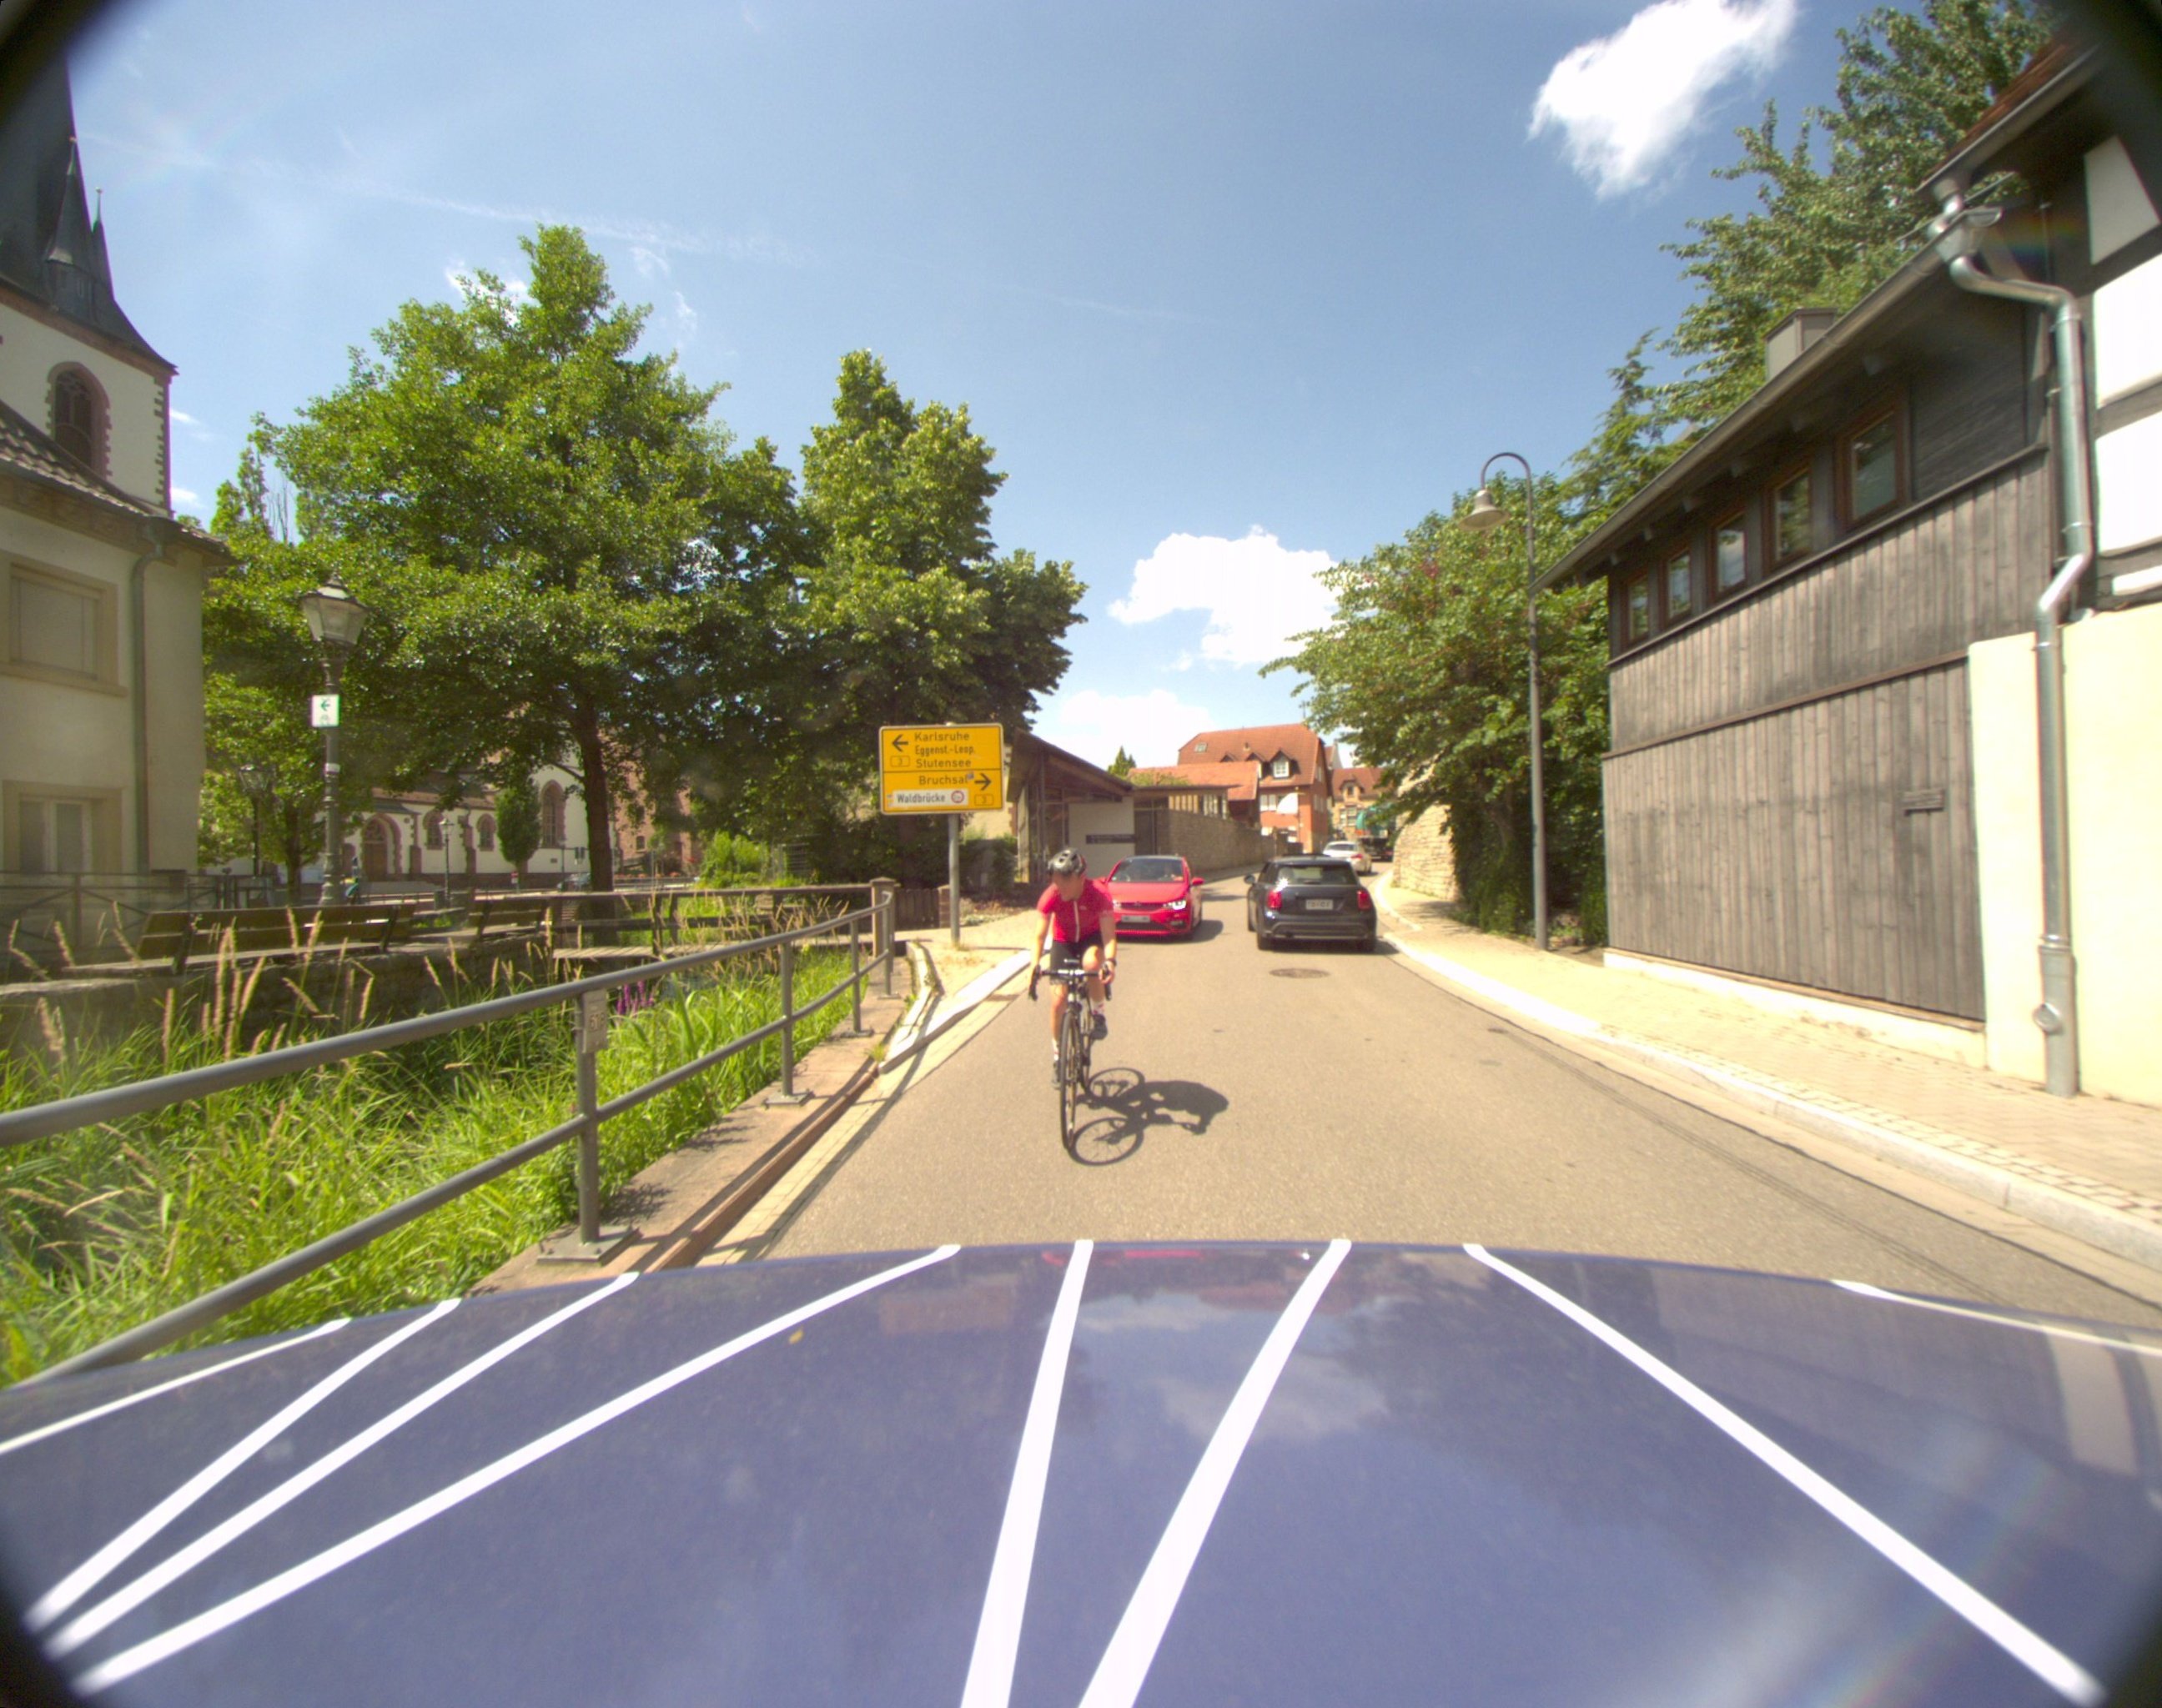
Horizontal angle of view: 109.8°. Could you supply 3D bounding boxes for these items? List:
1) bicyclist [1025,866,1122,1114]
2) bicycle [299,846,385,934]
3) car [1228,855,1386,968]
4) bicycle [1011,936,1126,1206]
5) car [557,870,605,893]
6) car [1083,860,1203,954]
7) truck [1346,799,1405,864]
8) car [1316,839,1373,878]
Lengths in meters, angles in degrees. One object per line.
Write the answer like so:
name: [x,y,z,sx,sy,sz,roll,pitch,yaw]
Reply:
bicyclist: [-0.041,0.776,4.682,0.532,1.396,0.755,-1,0,0]
bicycle: [-18.444,0.871,19.046,0.784,2.002,2.660,-5,2,-30]
car: [3.599,0.810,12.897,1.702,1.457,4.436,0,1,5]
bicycle: [-0.050,1.139,4.618,0.531,1.070,2.054,-1,0,1]
car: [-35.760,1.953,54.455,1.671,1.496,3.806,-2,0,-15]
car: [1.244,0.836,13.728,1.668,1.344,3.497,0,2,13]
truck: [18.783,-1.471,48.049,2.414,3.637,9.581,-3,1,27]
car: [11.591,0.124,33.239,1.896,1.492,4.620,1,2,25]
